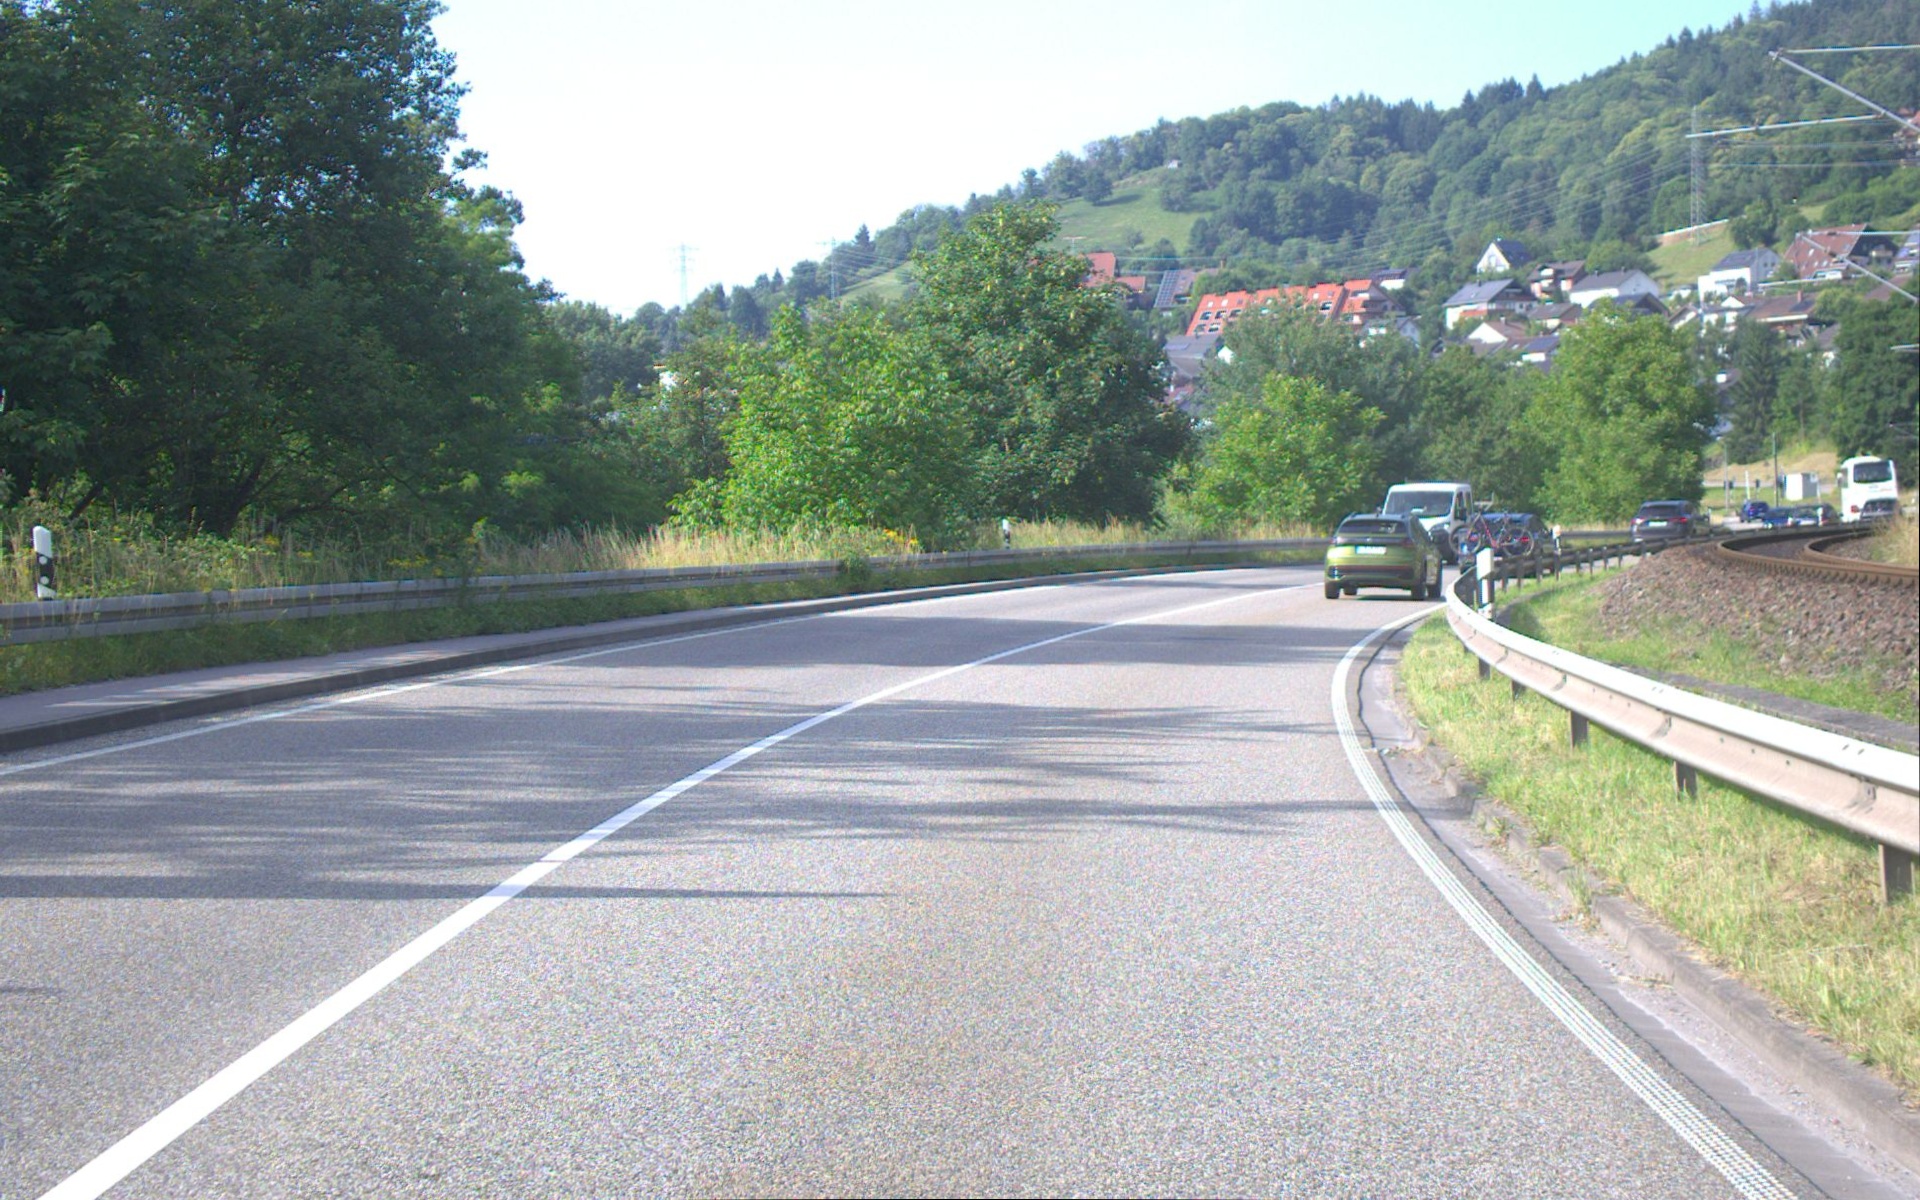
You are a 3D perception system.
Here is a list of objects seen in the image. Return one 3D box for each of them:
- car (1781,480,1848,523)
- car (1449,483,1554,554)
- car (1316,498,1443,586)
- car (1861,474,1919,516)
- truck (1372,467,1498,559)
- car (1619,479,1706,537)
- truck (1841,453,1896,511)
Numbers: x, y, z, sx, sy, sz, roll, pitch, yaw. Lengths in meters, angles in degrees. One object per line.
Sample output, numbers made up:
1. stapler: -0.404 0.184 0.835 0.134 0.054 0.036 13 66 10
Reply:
1. car: 31.618 -3.656 127.201 1.851 1.521 3.658 -1 2 23
2. car: 12.269 -1.857 77.714 1.668 1.554 3.997 -1 2 19
3. car: 7.435 -1.054 60.703 1.716 1.450 3.998 2 2 14
4. car: 41.716 -4.709 153.957 2.066 1.805 3.995 0 2 24
5. truck: 12.884 -2.358 92.869 2.159 2.357 6.740 2 2 18
6. car: 21.284 -2.797 104.050 1.882 1.681 3.996 -1 2 22
7. truck: 49.318 -6.407 186.729 2.713 3.073 6.105 1 2 13
